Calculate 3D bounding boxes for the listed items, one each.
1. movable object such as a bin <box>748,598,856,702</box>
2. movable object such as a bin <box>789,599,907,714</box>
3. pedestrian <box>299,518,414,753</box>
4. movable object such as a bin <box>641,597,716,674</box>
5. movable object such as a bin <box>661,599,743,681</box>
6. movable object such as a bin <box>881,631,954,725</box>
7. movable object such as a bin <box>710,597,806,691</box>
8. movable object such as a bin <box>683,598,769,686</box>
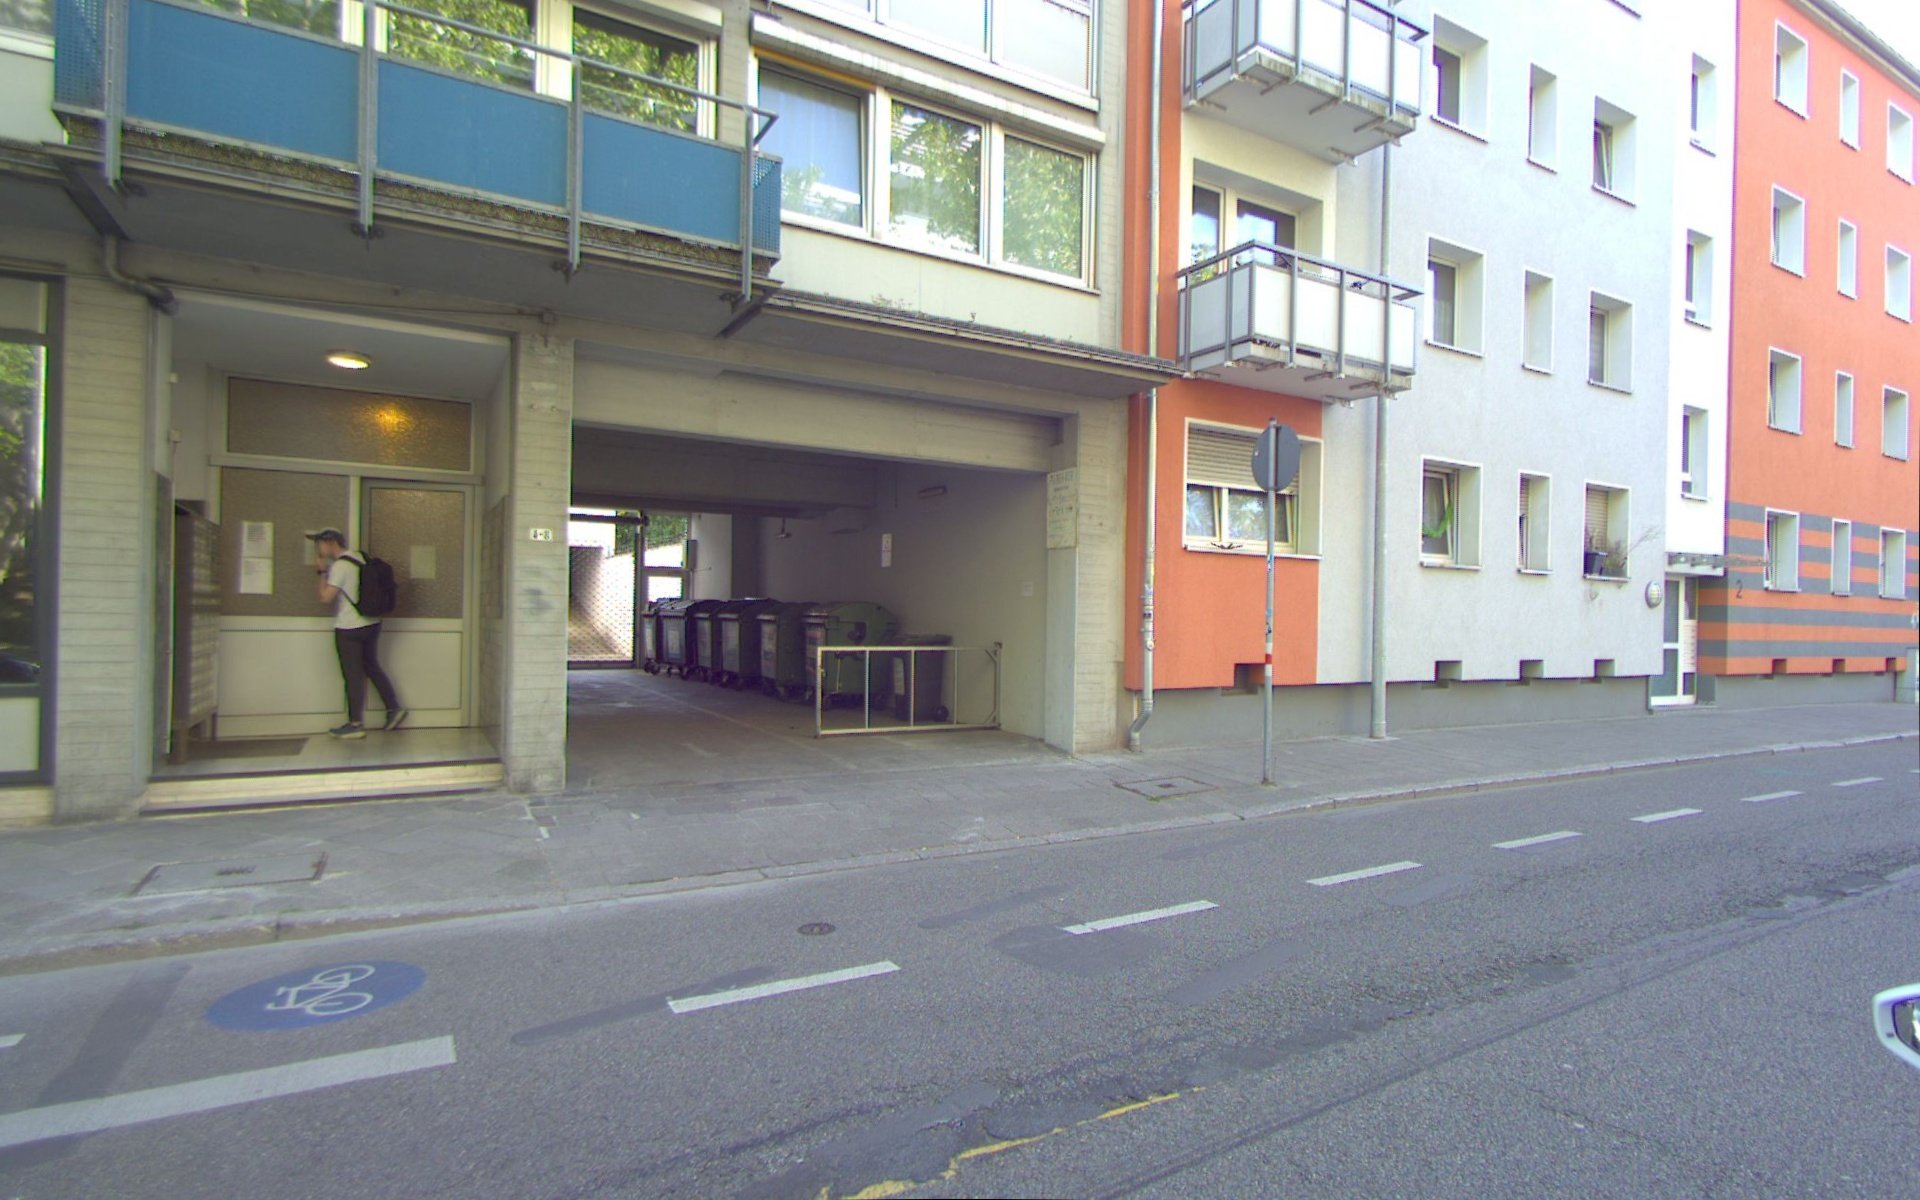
[{"bbox_3d":[-2.393,0.730,15.141,1.186,1.467,1.319,2,0,-30],"label":"movable object such as a bin"},{"bbox_3d":[-1.553,0.749,13.807,1.159,1.467,1.319,2,0,-30],"label":"movable object such as a bin"},{"bbox_3d":[-5.159,0.295,8.599,0.778,1.904,0.576,2,0,-33],"label":"pedestrian"},{"bbox_3d":[-5.606,0.695,19.988,1.186,1.467,1.027,2,0,-30],"label":"movable object such as a bin"},{"bbox_3d":[-4.830,0.731,18.758,1.186,1.467,1.222,2,0,-30],"label":"movable object such as a bin"},{"bbox_3d":[-0.525,0.949,12.416,0.745,1.116,0.463,2,0,-30],"label":"movable object such as a bin"},{"bbox_3d":[-3.360,0.708,16.625,1.186,1.467,1.319,2,0,-30],"label":"movable object such as a bin"},{"bbox_3d":[-4.131,0.729,17.716,1.186,1.467,1.114,2,0,-30],"label":"movable object such as a bin"}]
